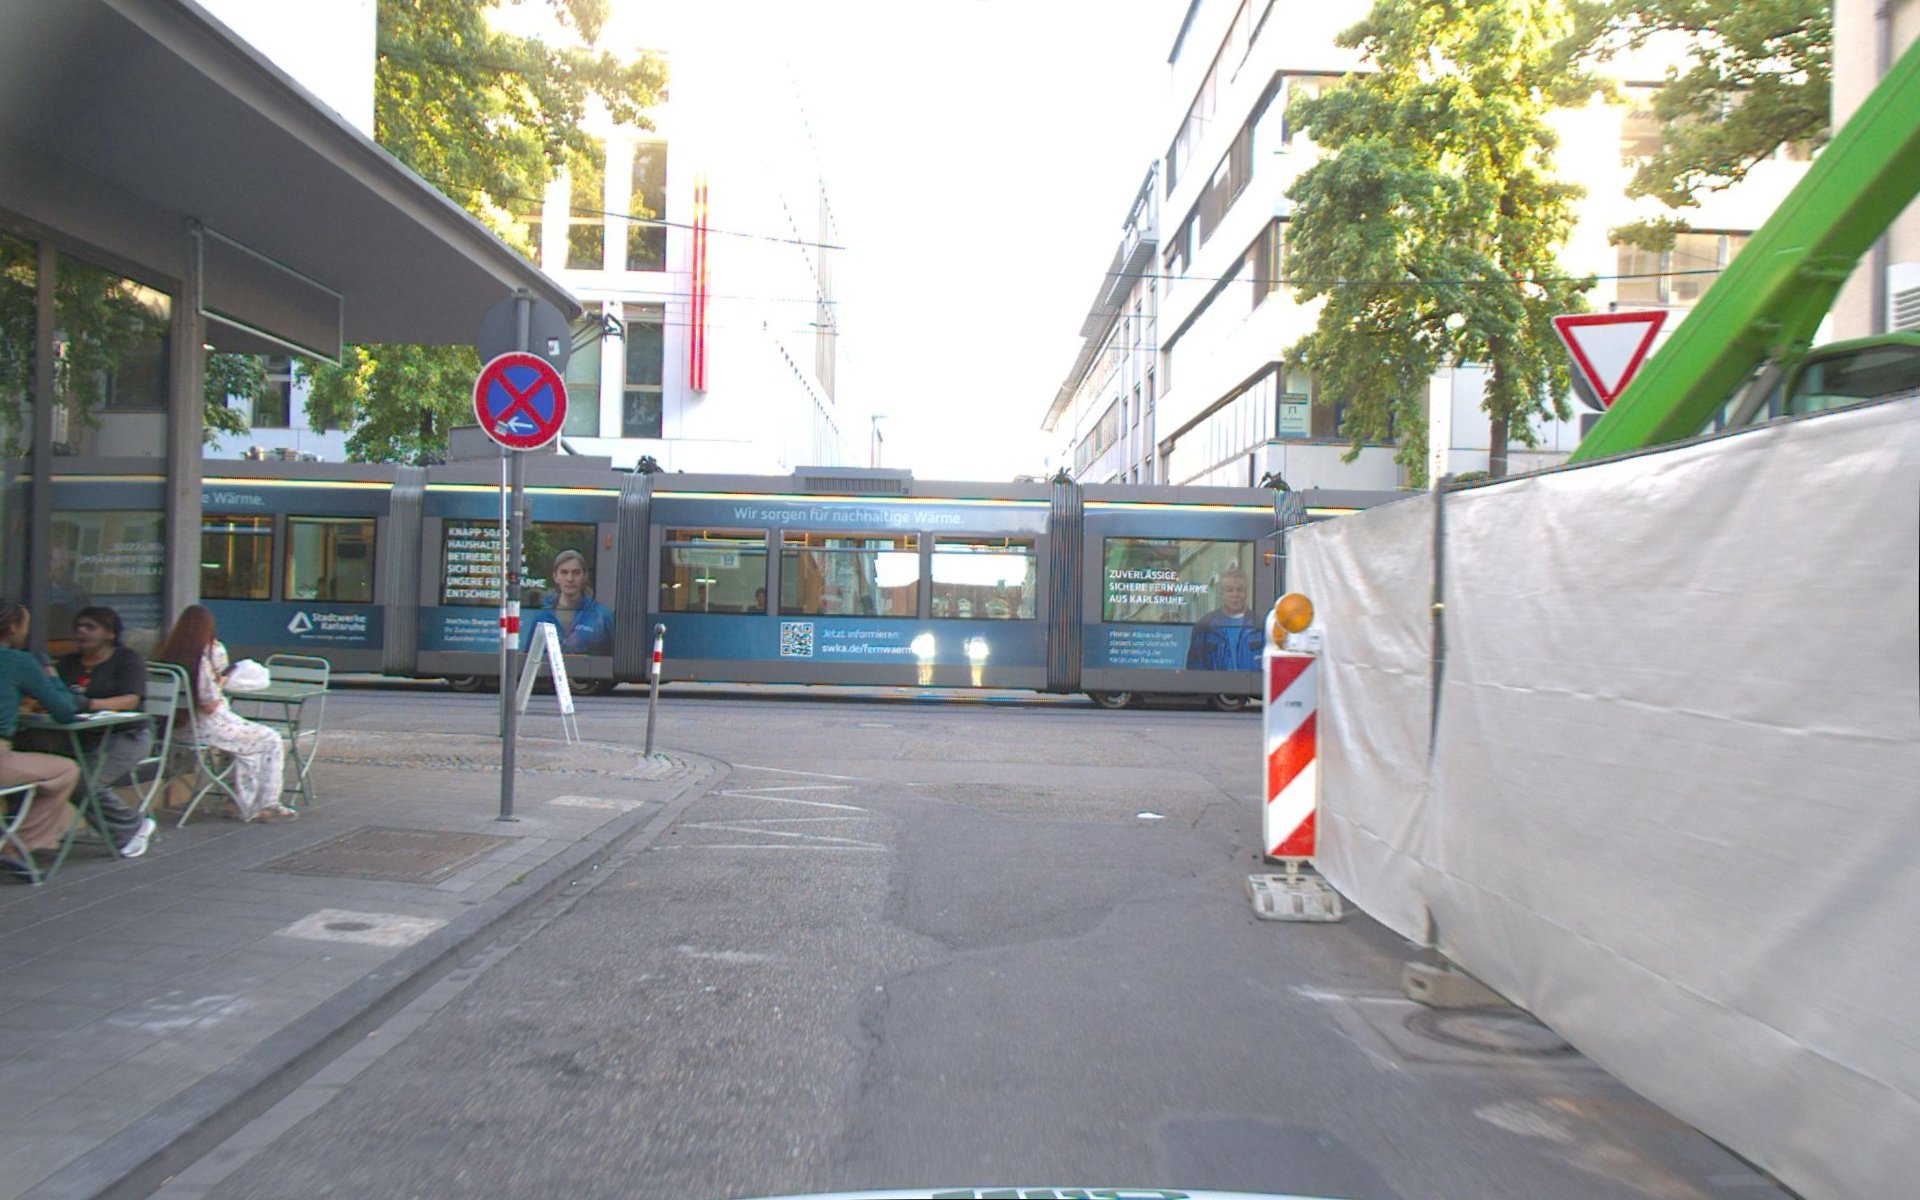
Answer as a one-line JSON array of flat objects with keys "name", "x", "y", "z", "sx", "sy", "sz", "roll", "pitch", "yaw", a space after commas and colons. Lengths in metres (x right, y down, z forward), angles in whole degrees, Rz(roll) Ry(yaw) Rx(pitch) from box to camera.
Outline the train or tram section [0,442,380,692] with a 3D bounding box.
[{"name": "train or tram section", "x": -14.860, "y": -0.499, "z": 25.612, "sx": 10.589, "sy": 3.585, "sz": 3.012, "roll": 1, "pitch": -1, "yaw": -1}]

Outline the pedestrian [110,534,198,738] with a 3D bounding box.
[{"name": "pedestrian", "x": -7.271, "y": 0.323, "z": 14.907, "sx": 0.633, "sy": 1.772, "sz": 0.773, "roll": 1, "pitch": -2, "yaw": -31}]

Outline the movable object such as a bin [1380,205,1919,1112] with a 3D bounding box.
[{"name": "movable object such as a bin", "x": 4.177, "y": 0.180, "z": 8.178, "sx": 2.582, "sy": 2.923, "sz": 5.562, "roll": 0, "pitch": 0, "yaw": -3}]

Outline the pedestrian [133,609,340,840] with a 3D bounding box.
[{"name": "pedestrian", "x": -4.177, "y": 0.687, "z": 9.566, "sx": 0.692, "sy": 1.240, "sz": 0.838, "roll": 1, "pitch": 0, "yaw": 37}]

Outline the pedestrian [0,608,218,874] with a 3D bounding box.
[{"name": "pedestrian", "x": -4.260, "y": 0.676, "z": 8.268, "sx": 0.689, "sy": 1.216, "sz": 0.691, "roll": 4, "pitch": 0, "yaw": 3}]

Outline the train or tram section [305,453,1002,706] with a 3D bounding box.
[{"name": "train or tram section", "x": -4.481, "y": -0.269, "z": 25.784, "sx": 10.156, "sy": 3.586, "sz": 3.016, "roll": 1, "pitch": -1, "yaw": -1}]

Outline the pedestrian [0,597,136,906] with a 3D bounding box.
[{"name": "pedestrian", "x": -4.284, "y": 0.638, "z": 7.403, "sx": 0.689, "sy": 1.261, "sz": 0.778, "roll": 4, "pitch": 0, "yaw": 3}]

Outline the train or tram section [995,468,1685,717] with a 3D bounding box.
[{"name": "train or tram section", "x": 5.672, "y": -0.094, "z": 25.952, "sx": 10.126, "sy": 3.585, "sz": 3.026, "roll": 1, "pitch": -1, "yaw": -1}]

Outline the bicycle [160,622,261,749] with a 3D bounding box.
[{"name": "bicycle", "x": -7.308, "y": 0.796, "z": 16.085, "sx": 0.769, "sy": 1.159, "sz": 1.849, "roll": 1, "pitch": -1, "yaw": -28}]
